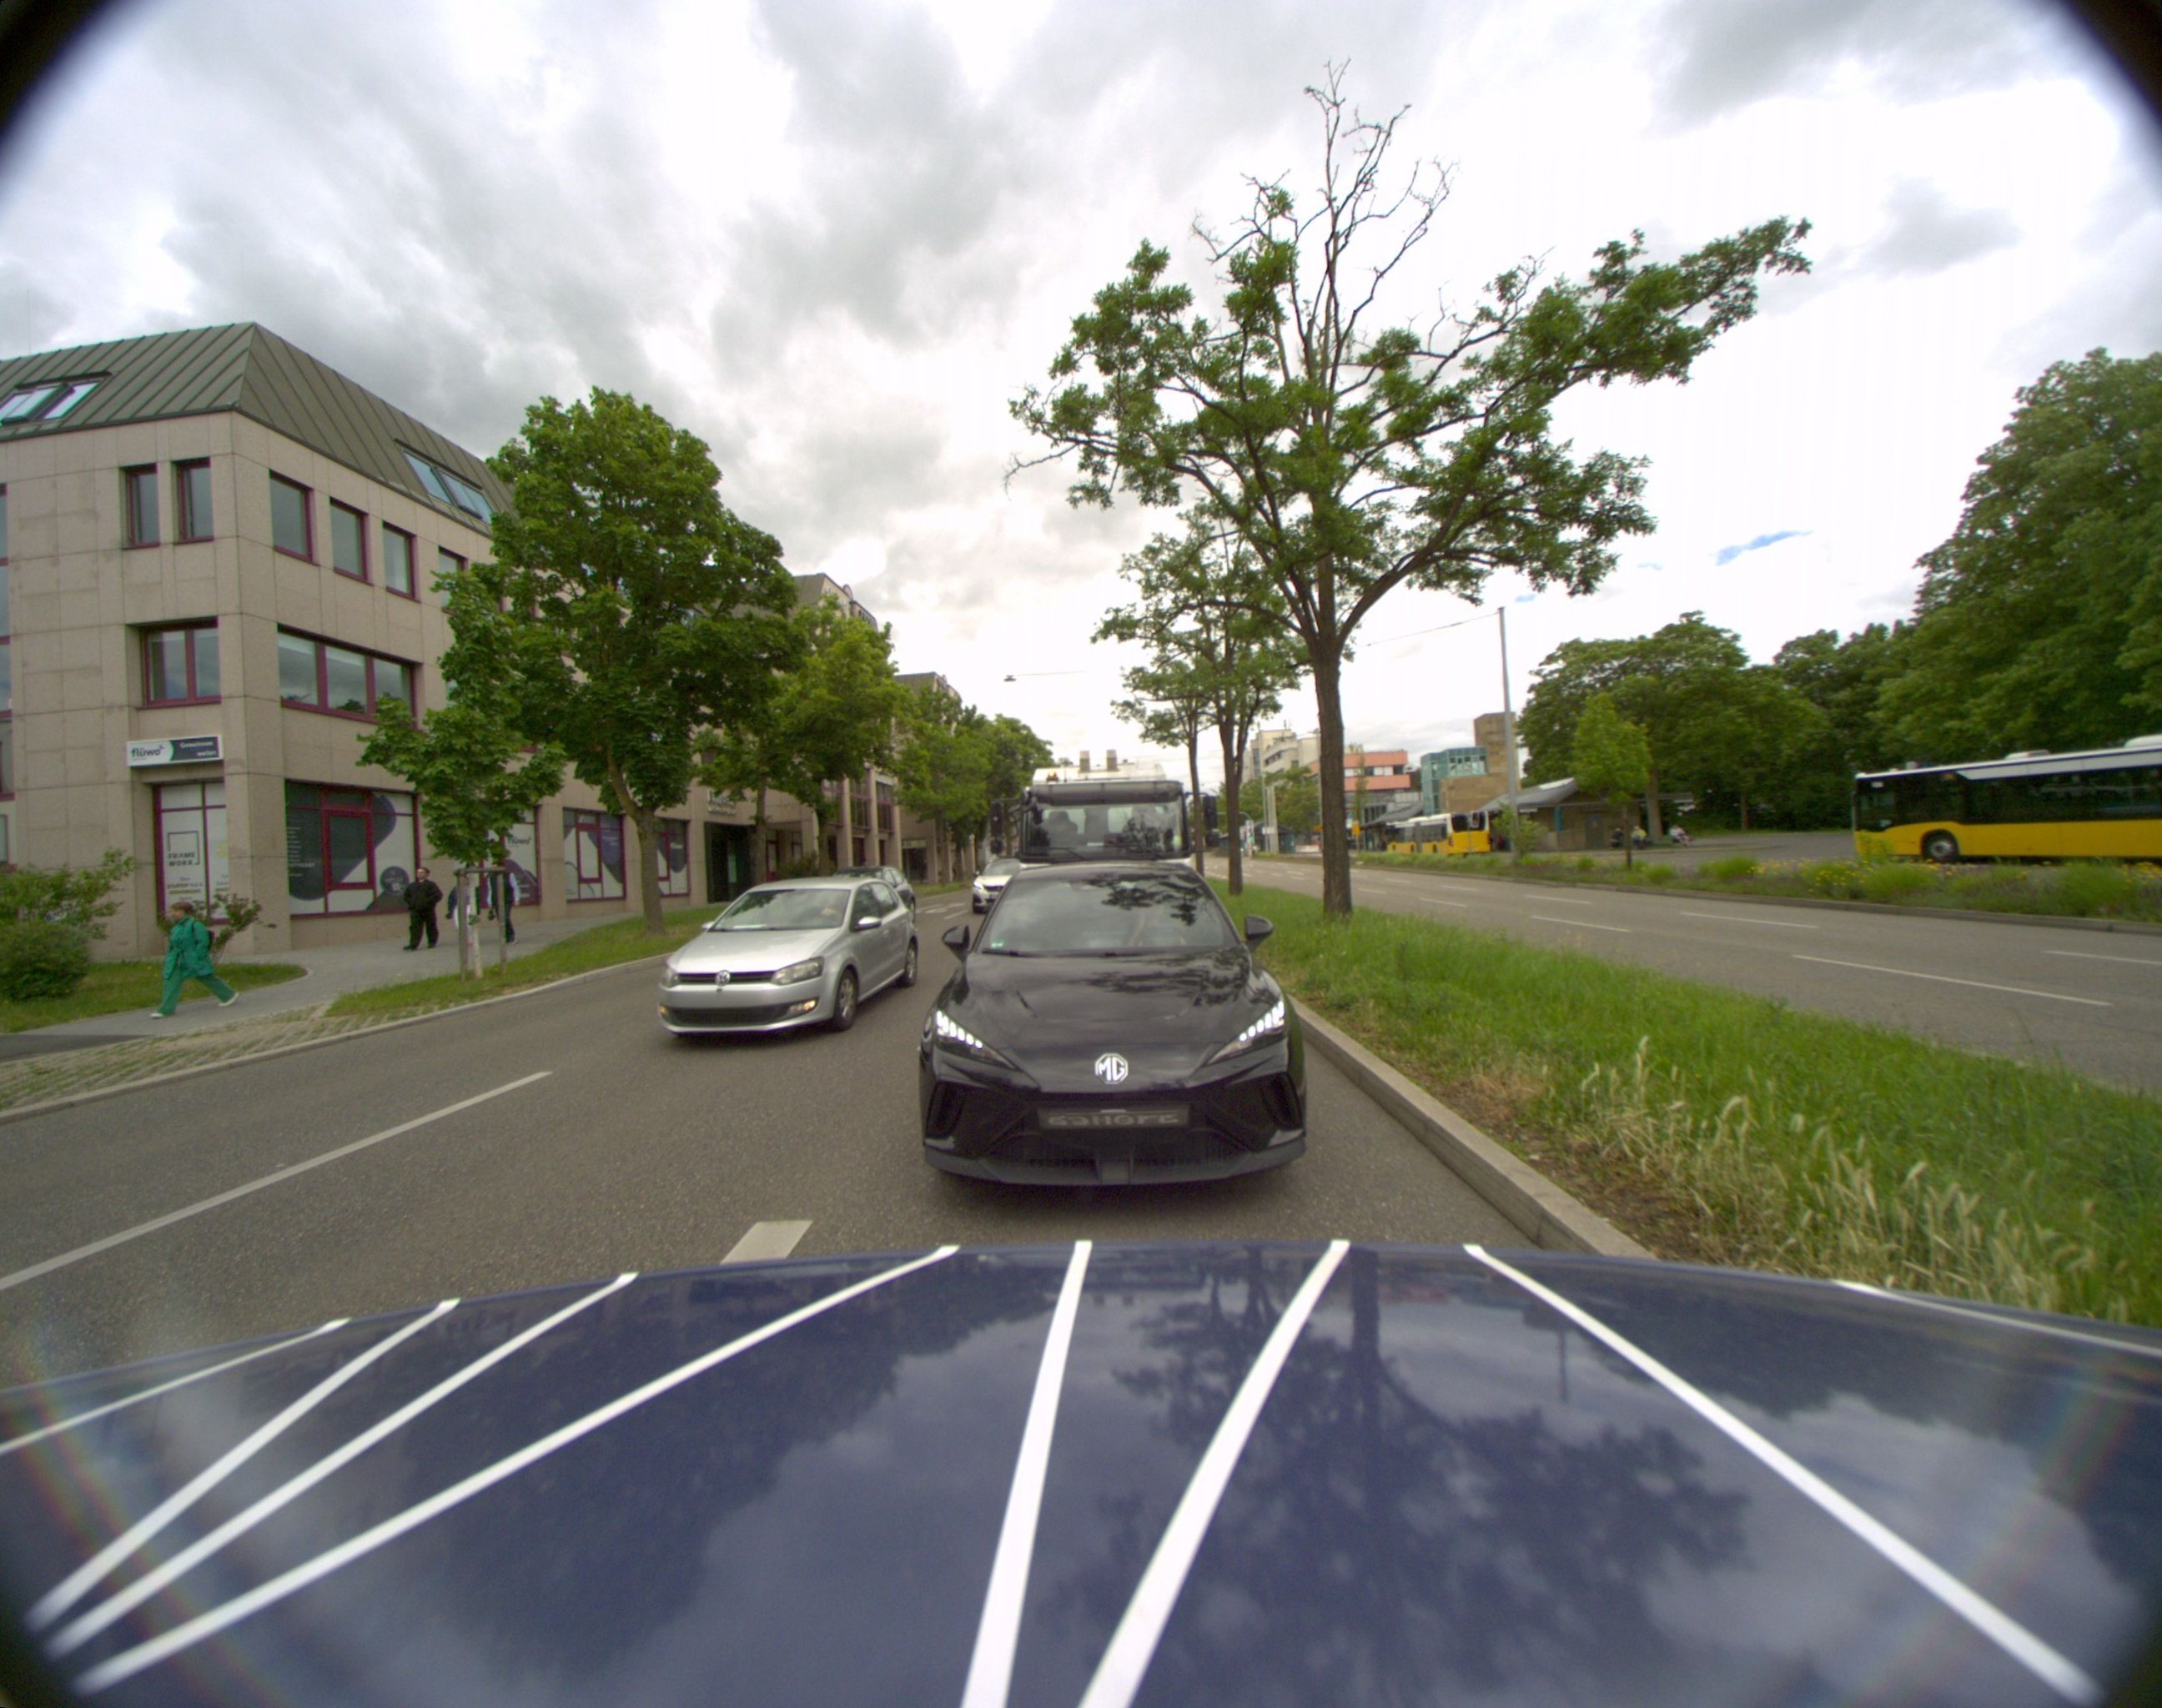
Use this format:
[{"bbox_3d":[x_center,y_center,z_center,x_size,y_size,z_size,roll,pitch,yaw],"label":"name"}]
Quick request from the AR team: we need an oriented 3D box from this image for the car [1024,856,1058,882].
[{"bbox_3d":[-2.547,0.927,49.205,1.719,1.546,4.090,-2,0,3],"label":"car"}]

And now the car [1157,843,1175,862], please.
[{"bbox_3d":[9.444,-0.148,84.910,1.726,2.002,4.001,-3,0,3],"label":"car"}]

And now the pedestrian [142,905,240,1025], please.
[{"bbox_3d":[-11.905,1.461,10.184,0.496,1.510,0.677,0,1,1],"label":"pedestrian"}]

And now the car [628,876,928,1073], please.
[{"bbox_3d":[-2.906,1.066,8.195,1.609,1.460,3.675,-3,0,2],"label":"car"}]

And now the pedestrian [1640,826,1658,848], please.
[{"bbox_3d":[30.655,-0.900,41.011,0.598,1.155,0.744,-2,1,26],"label":"pedestrian"}]

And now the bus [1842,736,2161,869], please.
[{"bbox_3d":[25.930,-1.233,19.619,2.888,2.985,10.397,-3,0,6],"label":"bus"}]

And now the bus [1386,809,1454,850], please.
[{"bbox_3d":[27.616,-1.877,62.373,2.887,2.985,9.182,-3,0,10],"label":"bus"}]

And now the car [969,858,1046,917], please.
[{"bbox_3d":[-2.194,0.970,23.732,1.859,1.586,4.313,-2,0,1],"label":"car"}]

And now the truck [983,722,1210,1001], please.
[{"bbox_3d":[0.298,0.087,12.684,2.544,3.187,7.369,-3,0,2],"label":"truck"}]

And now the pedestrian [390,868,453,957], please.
[{"bbox_3d":[-13.891,1.210,16.025,0.642,1.795,0.677,-3,1,1],"label":"pedestrian"}]

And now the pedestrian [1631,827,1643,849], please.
[{"bbox_3d":[30.213,-0.886,41.301,0.367,1.160,0.899,-2,1,26],"label":"pedestrian"}]

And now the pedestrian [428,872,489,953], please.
[{"bbox_3d":[-13.198,1.222,16.133,0.642,1.637,0.677,-3,1,1],"label":"pedestrian"}]

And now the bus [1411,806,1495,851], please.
[{"bbox_3d":[25.949,-1.678,53.527,2.887,2.793,9.182,-3,0,11],"label":"bus"}]

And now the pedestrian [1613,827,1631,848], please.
[{"bbox_3d":[30.722,-0.926,43.175,0.599,1.155,0.743,-2,1,15],"label":"pedestrian"}]

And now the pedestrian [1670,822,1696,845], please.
[{"bbox_3d":[31.957,-1.078,40.359,0.650,1.165,0.925,-2,1,1],"label":"pedestrian"}]

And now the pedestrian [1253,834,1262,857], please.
[{"bbox_3d":[21.554,-1.021,92.725,0.903,2.772,1.148,-2,1,13],"label":"pedestrian"}]

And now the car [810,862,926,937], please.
[{"bbox_3d":[-5.144,1.036,18.911,1.661,1.504,3.999,-2,1,1],"label":"car"}]

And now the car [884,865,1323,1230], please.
[{"bbox_3d":[0.125,0.871,5.281,1.827,1.430,4.000,-3,0,1],"label":"car"}]

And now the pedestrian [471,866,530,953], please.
[{"bbox_3d":[-12.399,1.164,16.243,0.642,1.795,0.677,-3,1,1],"label":"pedestrian"}]
